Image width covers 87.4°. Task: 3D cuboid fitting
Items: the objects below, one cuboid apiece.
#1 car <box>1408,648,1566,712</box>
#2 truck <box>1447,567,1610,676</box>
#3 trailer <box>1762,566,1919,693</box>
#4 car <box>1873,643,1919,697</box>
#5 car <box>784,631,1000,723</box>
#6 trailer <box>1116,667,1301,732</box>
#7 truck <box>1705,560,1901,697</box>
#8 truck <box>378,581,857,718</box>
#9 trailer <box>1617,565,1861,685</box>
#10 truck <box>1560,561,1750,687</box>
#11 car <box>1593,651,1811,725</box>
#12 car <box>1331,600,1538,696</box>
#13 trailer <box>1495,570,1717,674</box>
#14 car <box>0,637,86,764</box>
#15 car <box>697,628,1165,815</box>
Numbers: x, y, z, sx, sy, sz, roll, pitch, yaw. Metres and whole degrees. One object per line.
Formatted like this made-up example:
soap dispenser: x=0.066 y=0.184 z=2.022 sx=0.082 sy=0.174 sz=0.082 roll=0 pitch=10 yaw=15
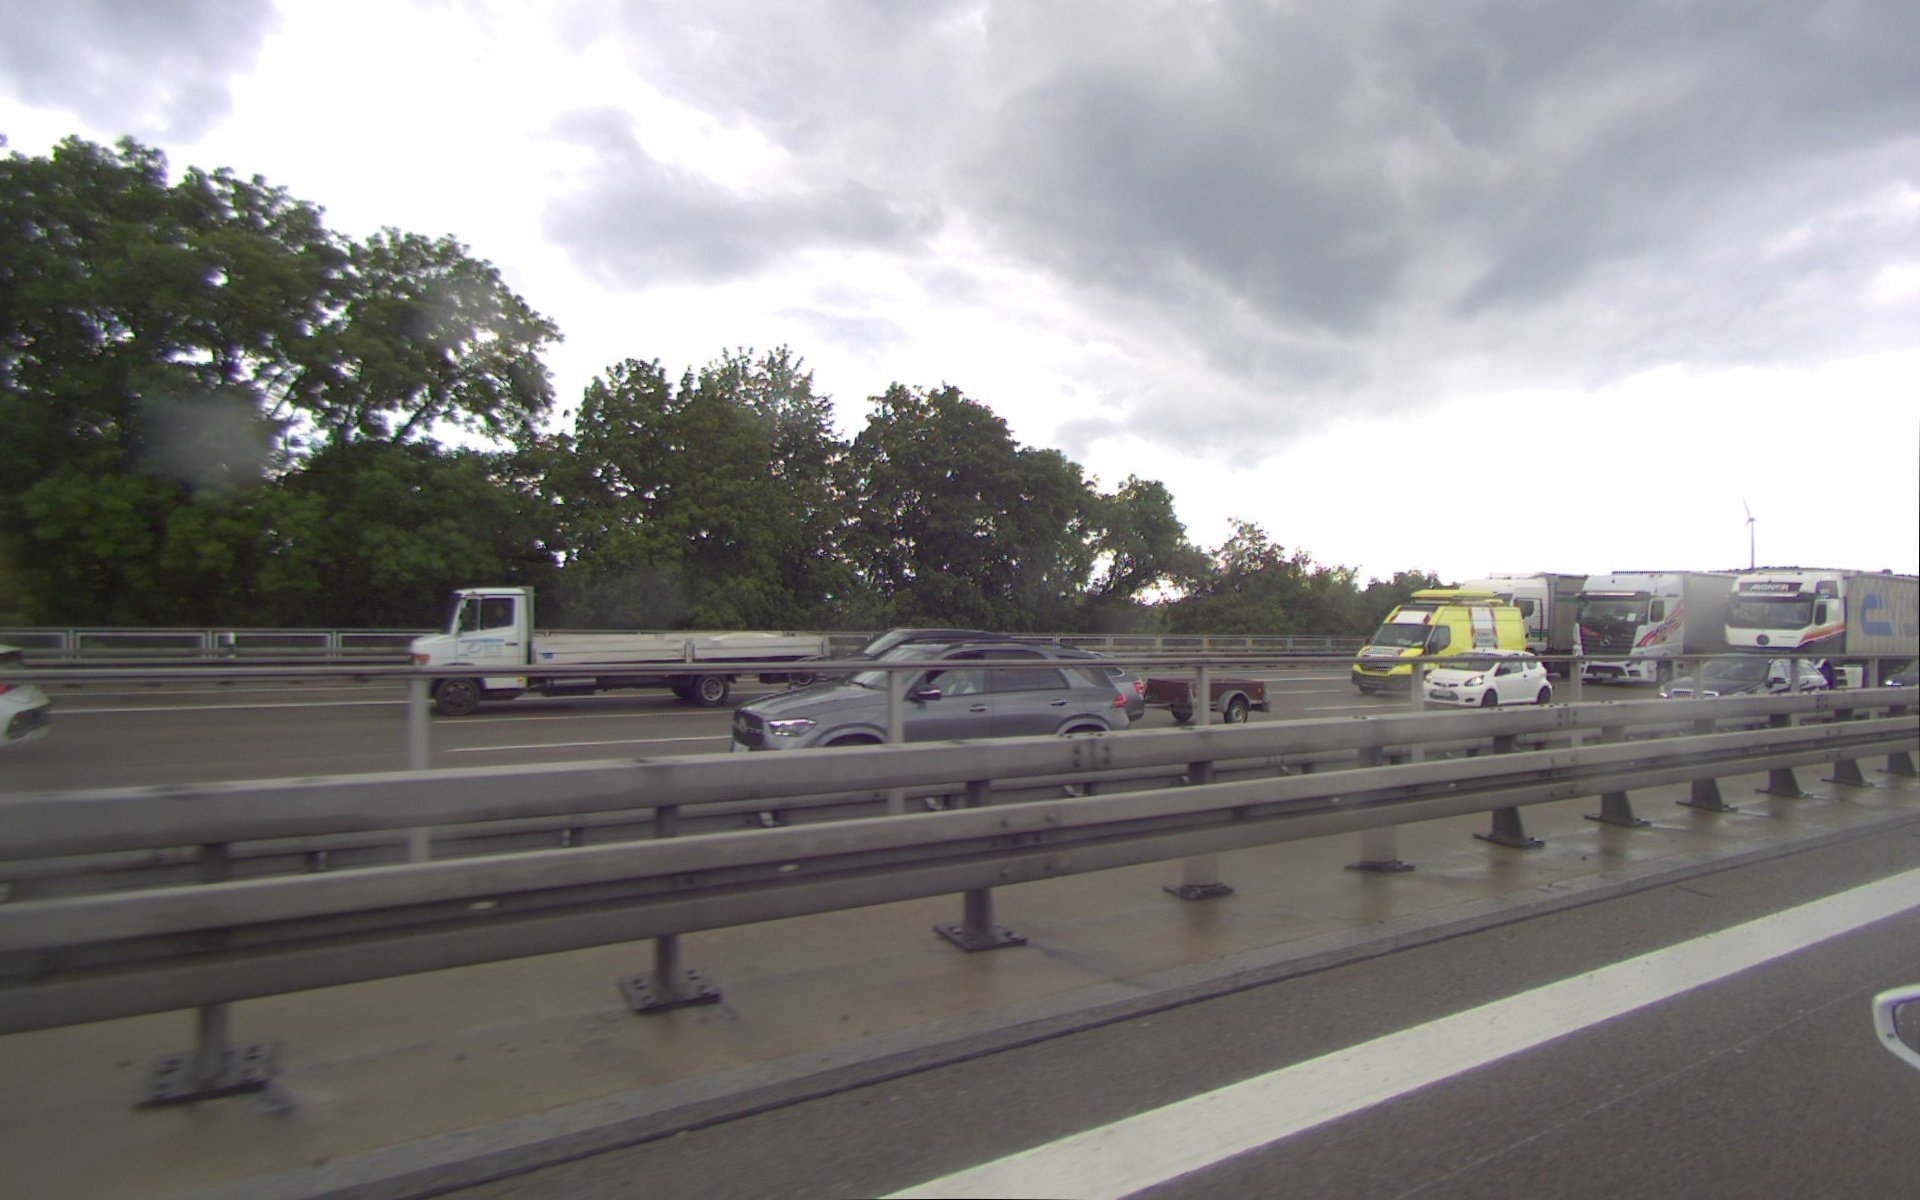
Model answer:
car: x=12.955 y=1.908 z=24.643 sx=4.053 sy=1.405 sz=1.594 roll=1 pitch=-2 yaw=-31
truck: x=22.663 y=0.892 z=40.009 sx=6.497 sy=4.046 sz=2.747 roll=1 pitch=-2 yaw=-30
trailer: x=34.765 y=1.152 z=37.864 sx=12.879 sy=4.200 sz=2.866 roll=1 pitch=-2 yaw=-31
car: x=28.164 y=1.963 z=28.538 sx=5.105 sy=1.437 sz=1.913 roll=1 pitch=-2 yaw=-31
car: x=-1.288 y=1.439 z=19.584 sx=3.954 sy=1.617 sz=1.526 roll=1 pitch=-2 yaw=-31
trailer: x=4.878 y=1.899 z=19.696 sx=3.303 sy=1.051 sz=1.716 roll=1 pitch=-2 yaw=-31
truck: x=28.826 y=0.978 z=34.276 sx=7.470 sy=4.235 sz=2.866 roll=1 pitch=-2 yaw=-31
truck: x=-6.880 y=0.988 z=21.056 sx=9.169 sy=2.403 sz=2.667 roll=1 pitch=-2 yaw=-31
trailer: x=30.895 y=1.040 z=39.560 sx=12.871 sy=4.200 sz=2.868 roll=1 pitch=-2 yaw=-30
truck: x=25.181 y=0.902 z=36.329 sx=7.016 sy=4.202 sz=2.891 roll=1 pitch=-2 yaw=-29
car: x=16.510 y=1.860 z=22.274 sx=5.397 sy=1.405 sz=2.005 roll=1 pitch=-2 yaw=-31
car: x=13.878 y=1.352 z=29.206 sx=6.695 sy=2.537 sz=2.145 roll=1 pitch=-2 yaw=-31
trailer: x=27.855 y=1.005 z=43.029 sx=12.160 sy=4.046 sz=2.746 roll=1 pitch=-2 yaw=-30
car: x=-13.448 y=1.202 z=11.919 sx=4.370 sy=1.498 sz=1.738 roll=2 pitch=-2 yaw=-33
car: x=-0.217 y=1.253 z=11.852 sx=5.269 sy=1.790 sz=1.904 roll=1 pitch=-2 yaw=-30
